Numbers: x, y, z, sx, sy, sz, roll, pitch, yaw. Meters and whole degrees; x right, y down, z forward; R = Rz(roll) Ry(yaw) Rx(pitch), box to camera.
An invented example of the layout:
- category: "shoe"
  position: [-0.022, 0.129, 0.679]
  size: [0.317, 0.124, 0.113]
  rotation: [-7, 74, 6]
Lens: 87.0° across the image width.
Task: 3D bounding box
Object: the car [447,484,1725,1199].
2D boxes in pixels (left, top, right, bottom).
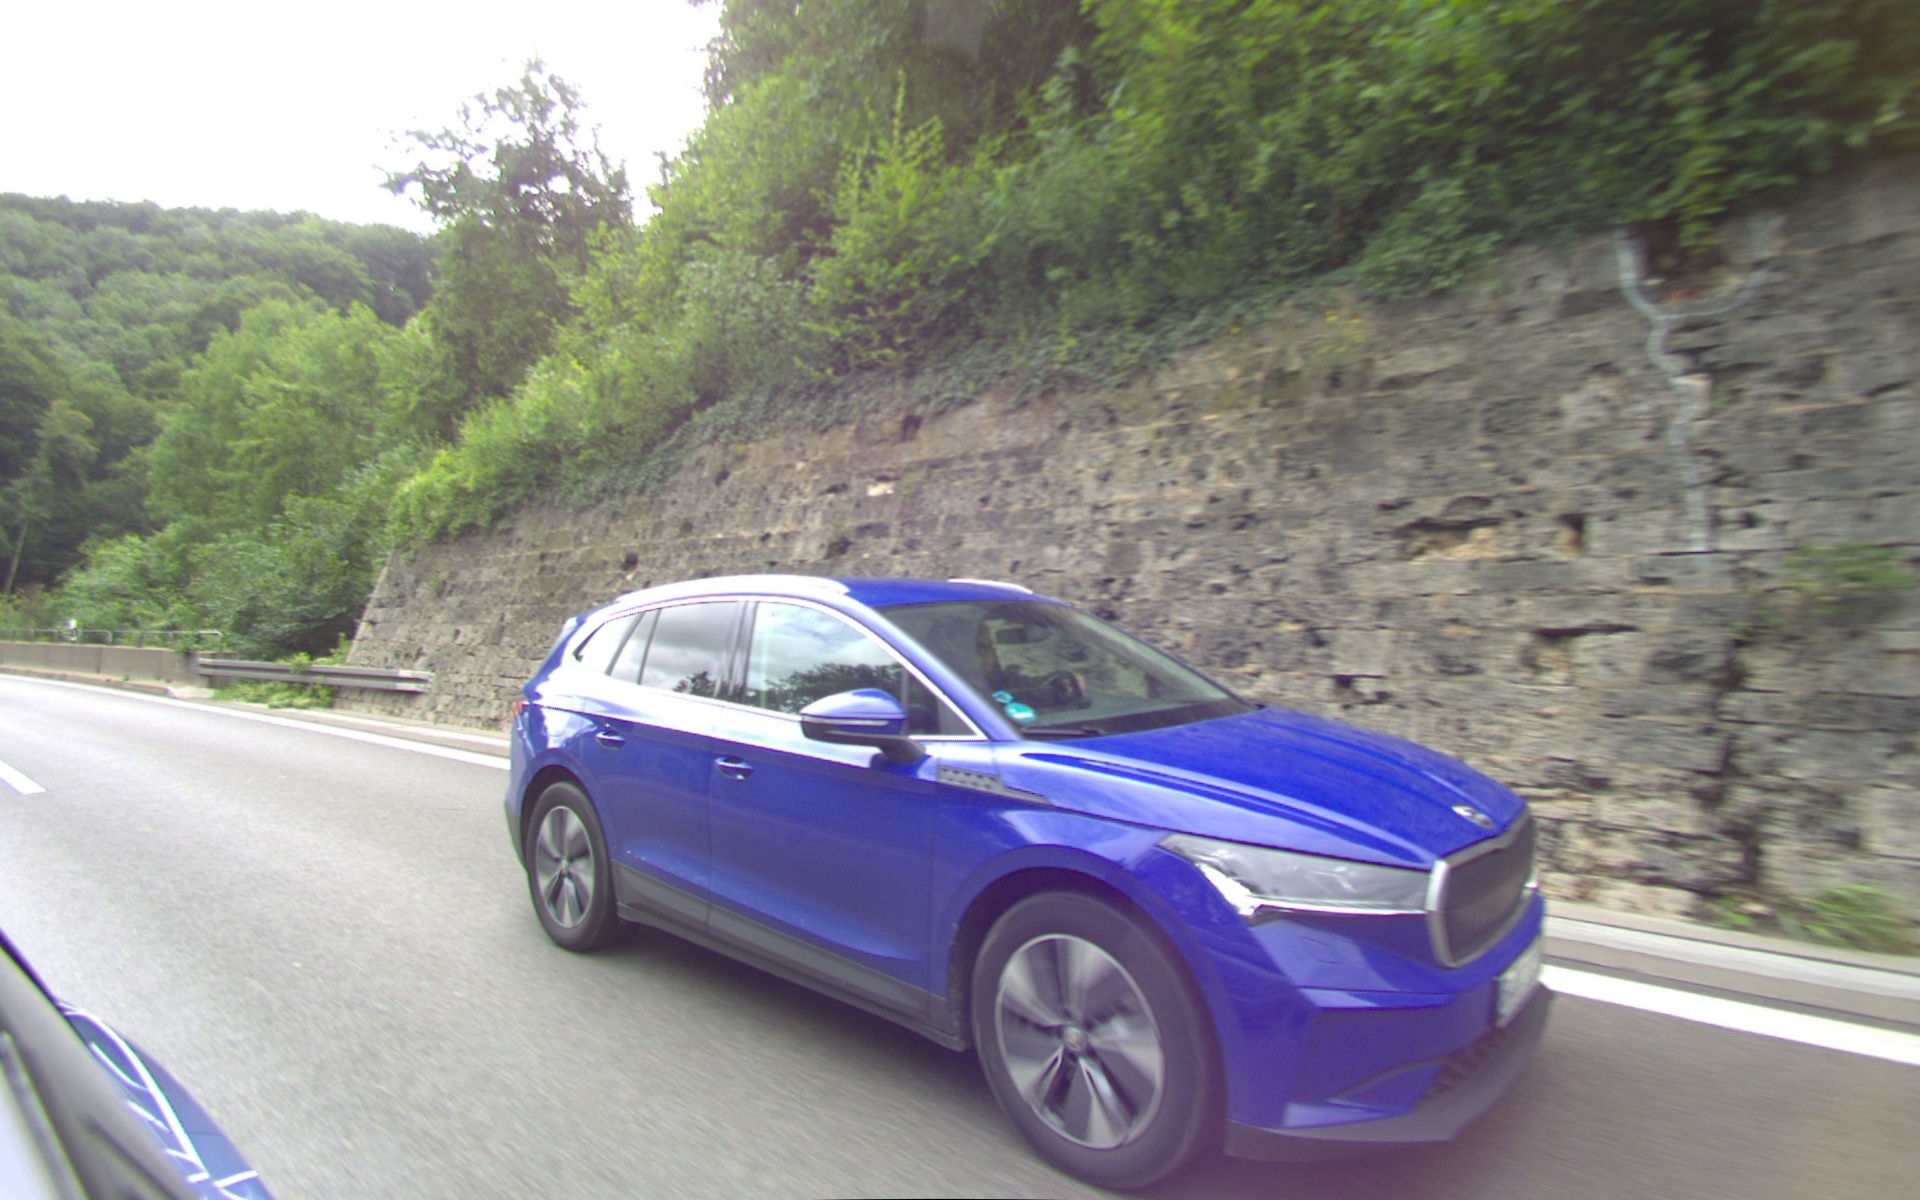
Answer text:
- category: "car"
  position: [-0.100, 0.660, 4.167]
  size: [5.008, 1.644, 1.972]
  rotation: [-1, -1, 43]
